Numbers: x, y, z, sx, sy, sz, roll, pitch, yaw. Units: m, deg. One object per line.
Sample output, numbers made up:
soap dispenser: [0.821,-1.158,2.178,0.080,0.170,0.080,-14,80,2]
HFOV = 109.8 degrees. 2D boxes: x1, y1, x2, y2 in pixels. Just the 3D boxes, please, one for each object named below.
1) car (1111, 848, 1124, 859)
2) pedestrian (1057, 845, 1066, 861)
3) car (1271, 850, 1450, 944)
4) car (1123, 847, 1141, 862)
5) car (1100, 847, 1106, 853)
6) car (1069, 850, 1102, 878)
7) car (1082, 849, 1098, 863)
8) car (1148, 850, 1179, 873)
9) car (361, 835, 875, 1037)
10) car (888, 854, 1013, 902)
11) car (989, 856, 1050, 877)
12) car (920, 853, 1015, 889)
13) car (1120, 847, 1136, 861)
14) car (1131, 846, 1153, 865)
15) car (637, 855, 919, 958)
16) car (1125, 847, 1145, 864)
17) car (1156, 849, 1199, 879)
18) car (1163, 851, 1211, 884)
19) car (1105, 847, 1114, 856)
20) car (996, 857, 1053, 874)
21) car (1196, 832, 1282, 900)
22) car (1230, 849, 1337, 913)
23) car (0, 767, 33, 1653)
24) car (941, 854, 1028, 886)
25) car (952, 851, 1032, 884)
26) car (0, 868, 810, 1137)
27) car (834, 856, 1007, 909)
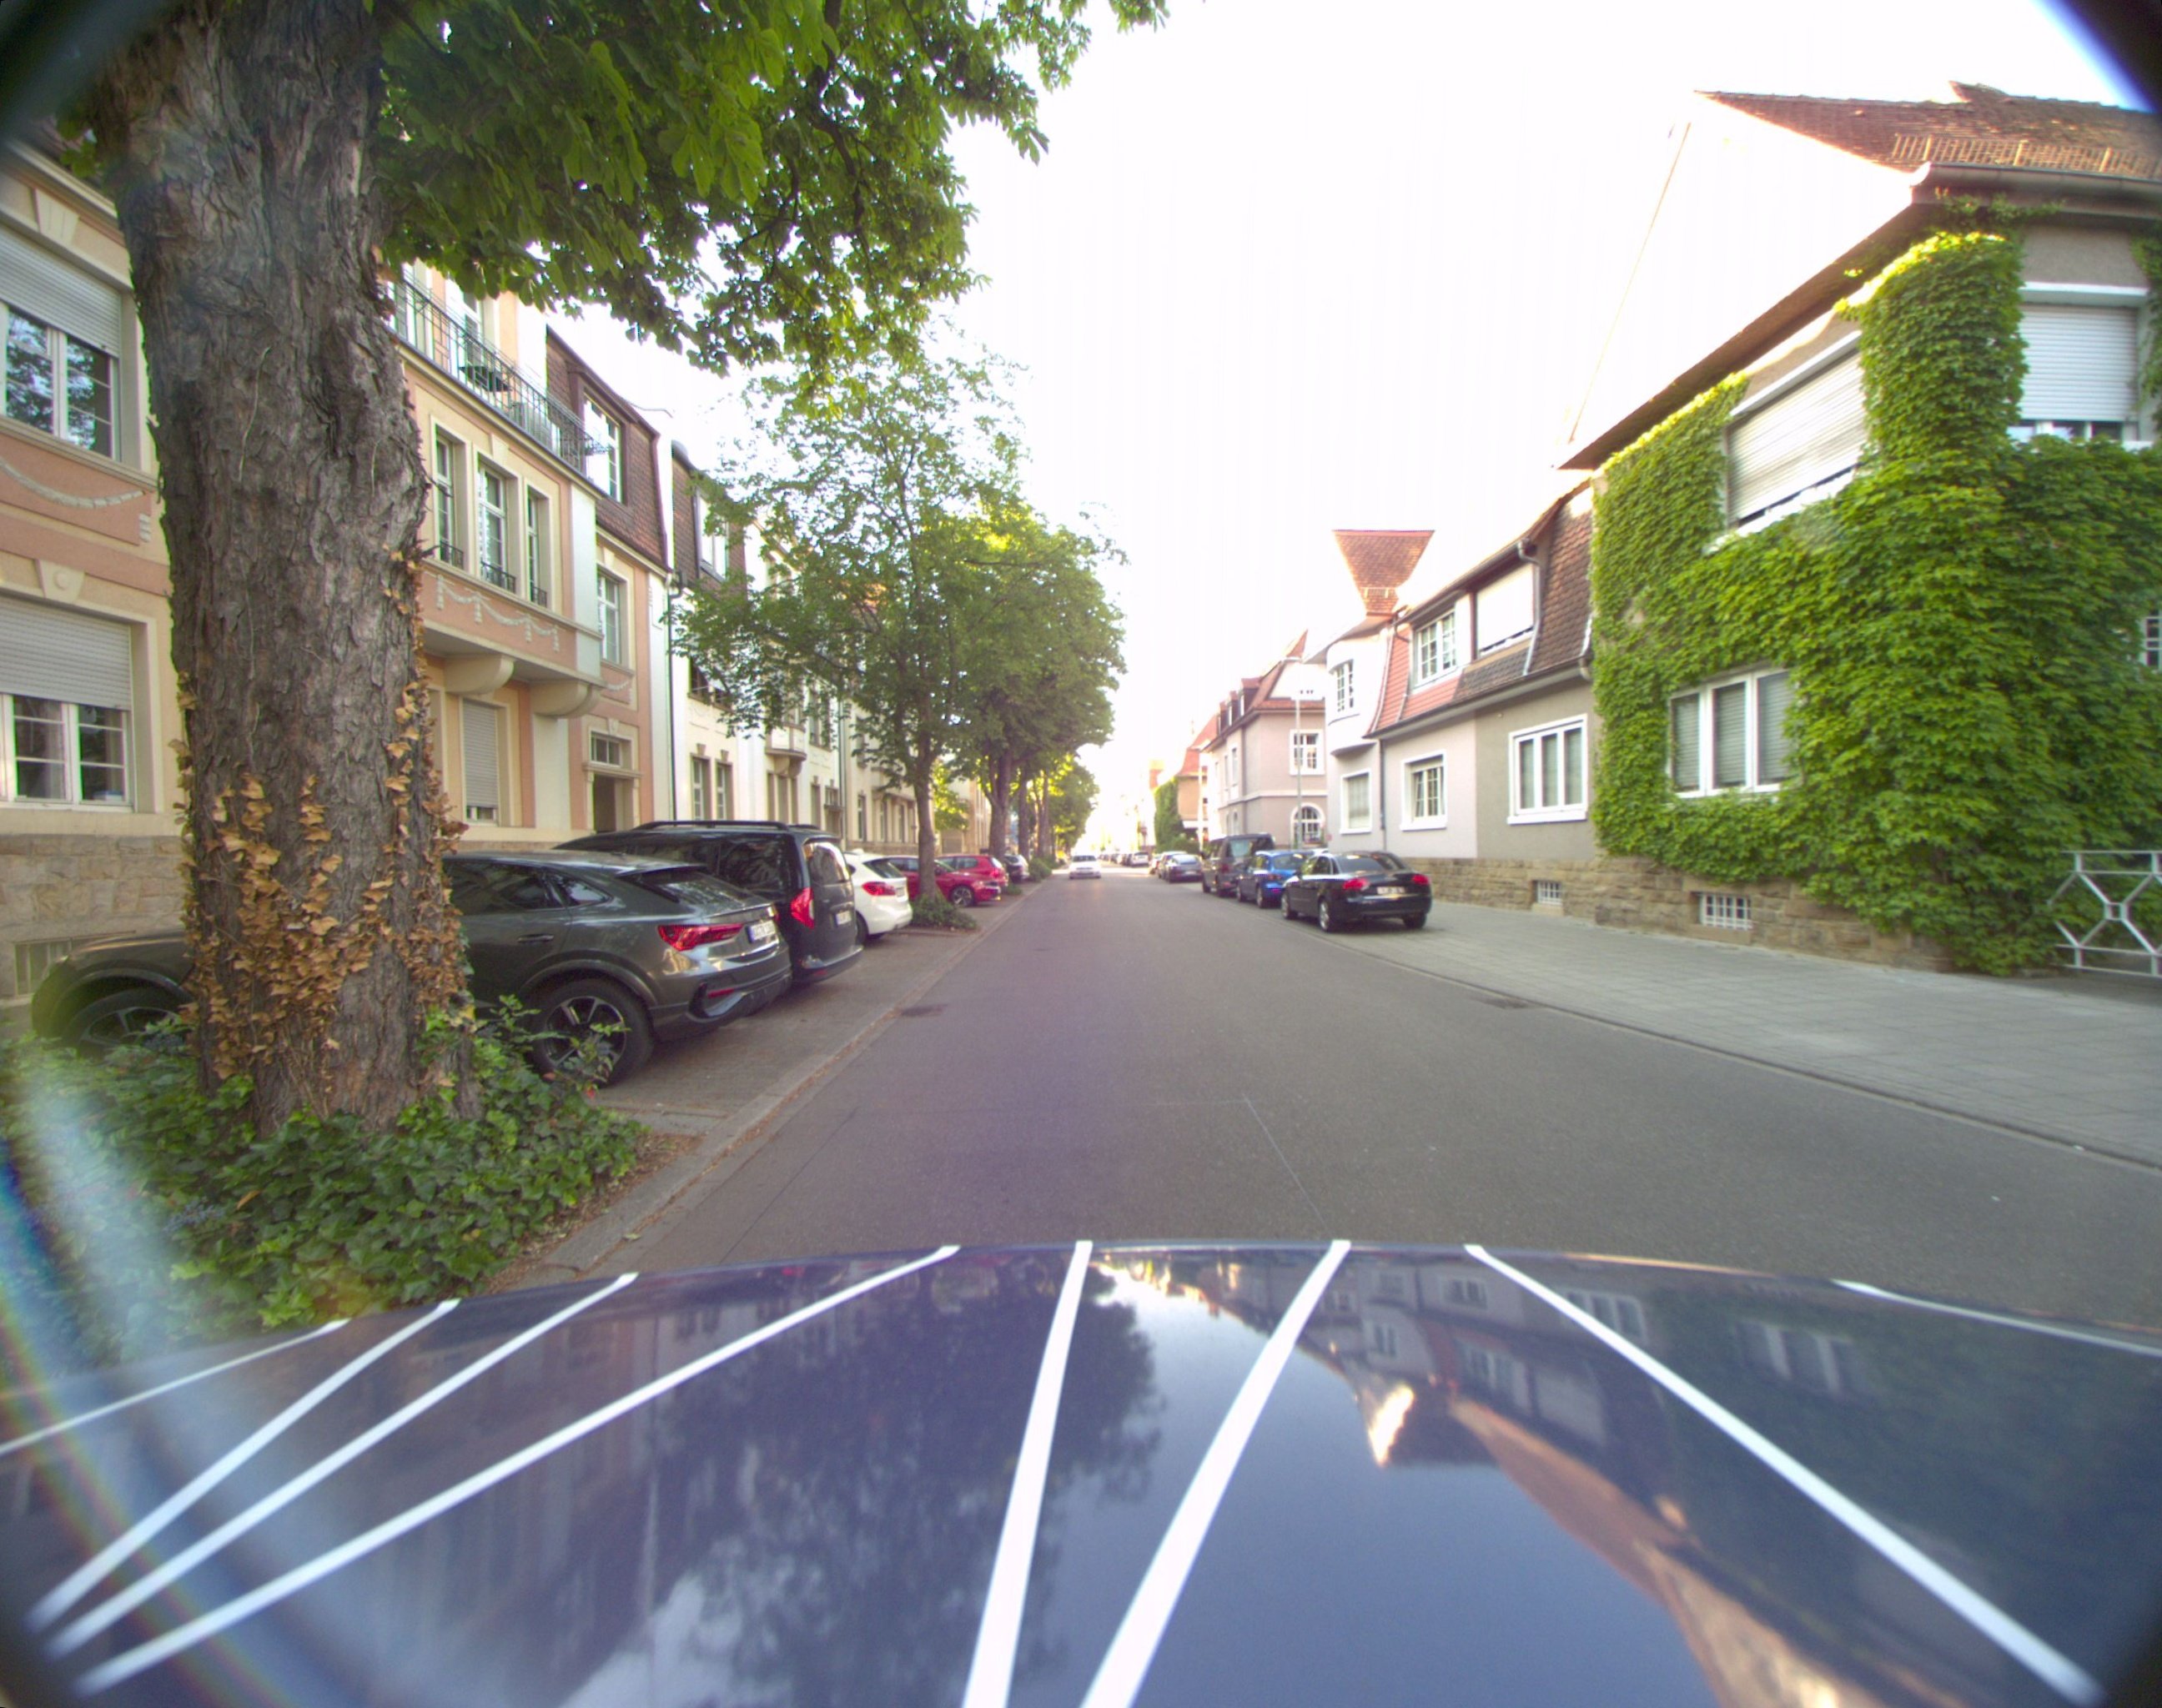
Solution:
car: [5.557,-0.120,115.865,1.699,1.520,3.677,-3,1,2]
pedestrian: [-2.550,-0.138,98.172,1.119,1.927,1.097,-3,1,-1]
car: [5.130,0.694,14.647,1.806,1.438,4.428,-3,1,0]
car: [5.440,0.058,80.766,1.699,1.520,3.677,-3,1,2]
car: [5.857,-0.964,202.672,1.699,1.520,3.677,-3,1,2]
car: [0.281,0.546,44.305,1.819,1.454,4.072,-2,0,1]
car: [1.022,0.202,86.251,1.819,1.454,4.072,-2,0,1]
car: [5.440,0.469,50.386,1.662,1.354,3.677,-3,1,2]
car: [-4.438,0.733,7.835,4.121,1.827,1.844,0,1,-2]
car: [-4.139,0.746,24.469,3.680,1.473,1.659,0,1,3]
car: [-3.564,0.726,44.439,3.399,1.143,1.542,0,1,2]
car: [-4.678,0.706,31.713,3.680,1.457,1.576,0,1,2]
car: [5.568,-0.049,91.012,1.699,1.520,3.677,-3,1,2]
car: [5.424,0.148,68.009,1.699,1.558,3.677,-3,1,2]
car: [-4.831,0.811,12.535,3.950,1.568,1.719,0,1,0]
car: [5.338,0.116,75.274,1.699,1.520,3.677,-3,1,2]
car: [5.284,0.502,42.146,1.932,1.458,4.062,-3,1,2]
car: [5.062,0.592,36.670,1.932,1.376,4.063,-3,1,4]
car: [5.581,-0.474,149.122,1.699,1.520,3.677,-3,1,2]
car: [-3.515,0.720,47.645,3.399,1.057,1.542,0,1,2]
car: [5.145,0.350,25.356,1.842,1.964,4.612,-3,1,1]
car: [5.280,0.641,20.345,1.768,1.438,4.062,-3,1,0]
car: [-4.595,0.764,0.525,4.763,1.864,1.896,0,1,-4]
car: [-4.315,0.710,34.286,3.680,1.390,1.576,0,1,2]
car: [-4.281,0.619,36.843,3.680,1.548,1.576,0,1,2]
car: [-4.538,0.889,5.479,4.522,1.514,1.844,0,1,-4]
car: [-4.534,0.795,21.941,4.530,1.443,1.867,0,1,3]
